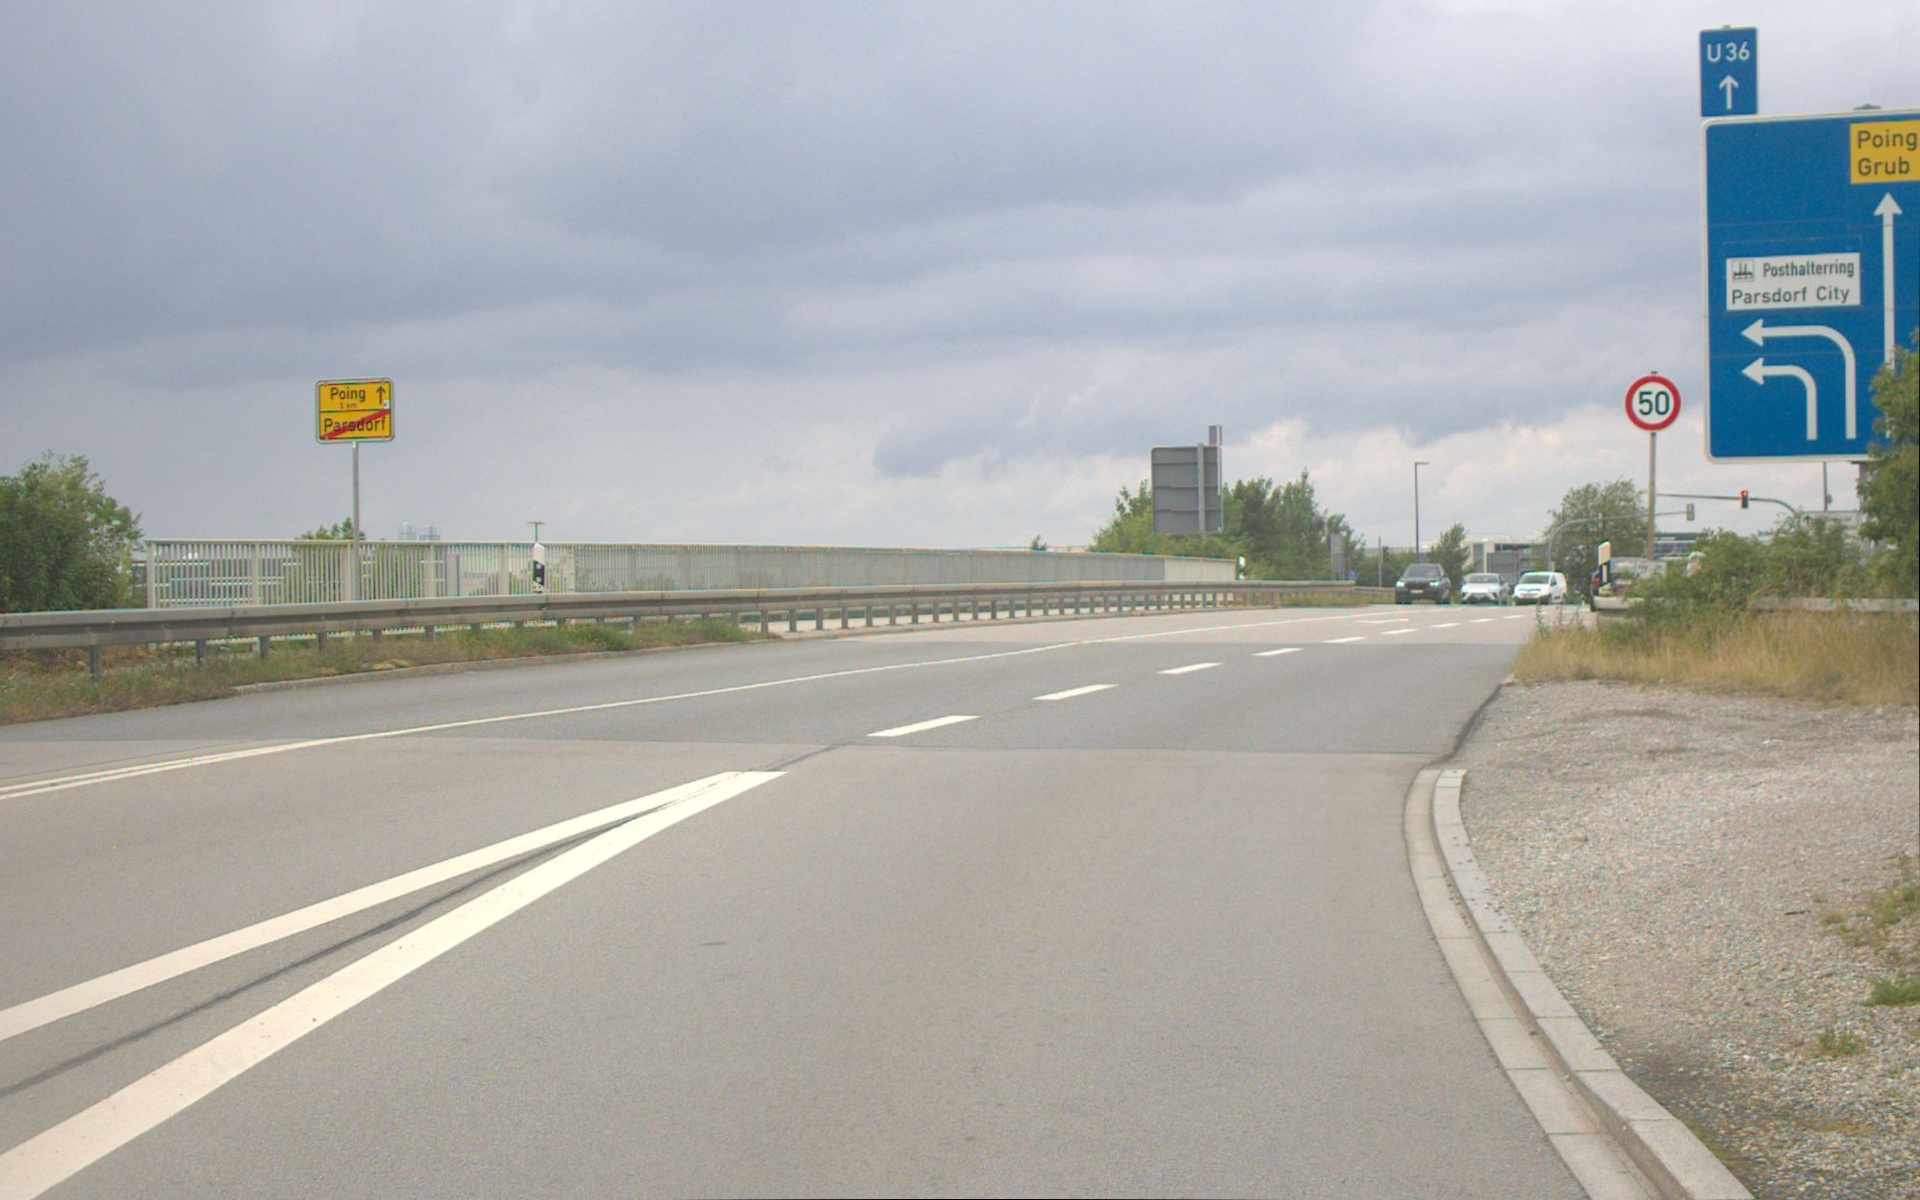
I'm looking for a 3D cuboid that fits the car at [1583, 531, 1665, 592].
[{"bbox_3d":[16.435,-0.932,84.943,1.519,1.480,3.612,0,0,19],"label":"car"}]

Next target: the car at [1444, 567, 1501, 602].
[{"bbox_3d":[24.085,-0.745,161.385,1.713,1.481,4.275,4,2,20],"label":"car"}]

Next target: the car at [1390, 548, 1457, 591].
[{"bbox_3d":[19.894,-1.279,147.466,1.995,1.726,4.757,0,-1,19],"label":"car"}]

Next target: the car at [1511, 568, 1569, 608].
[{"bbox_3d":[29.870,-0.624,176.858,1.955,1.868,4.815,4,2,20],"label":"car"}]

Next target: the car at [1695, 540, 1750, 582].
[{"bbox_3d":[29.094,-1.486,131.073,1.683,1.539,3.612,0,0,19],"label":"car"}]
